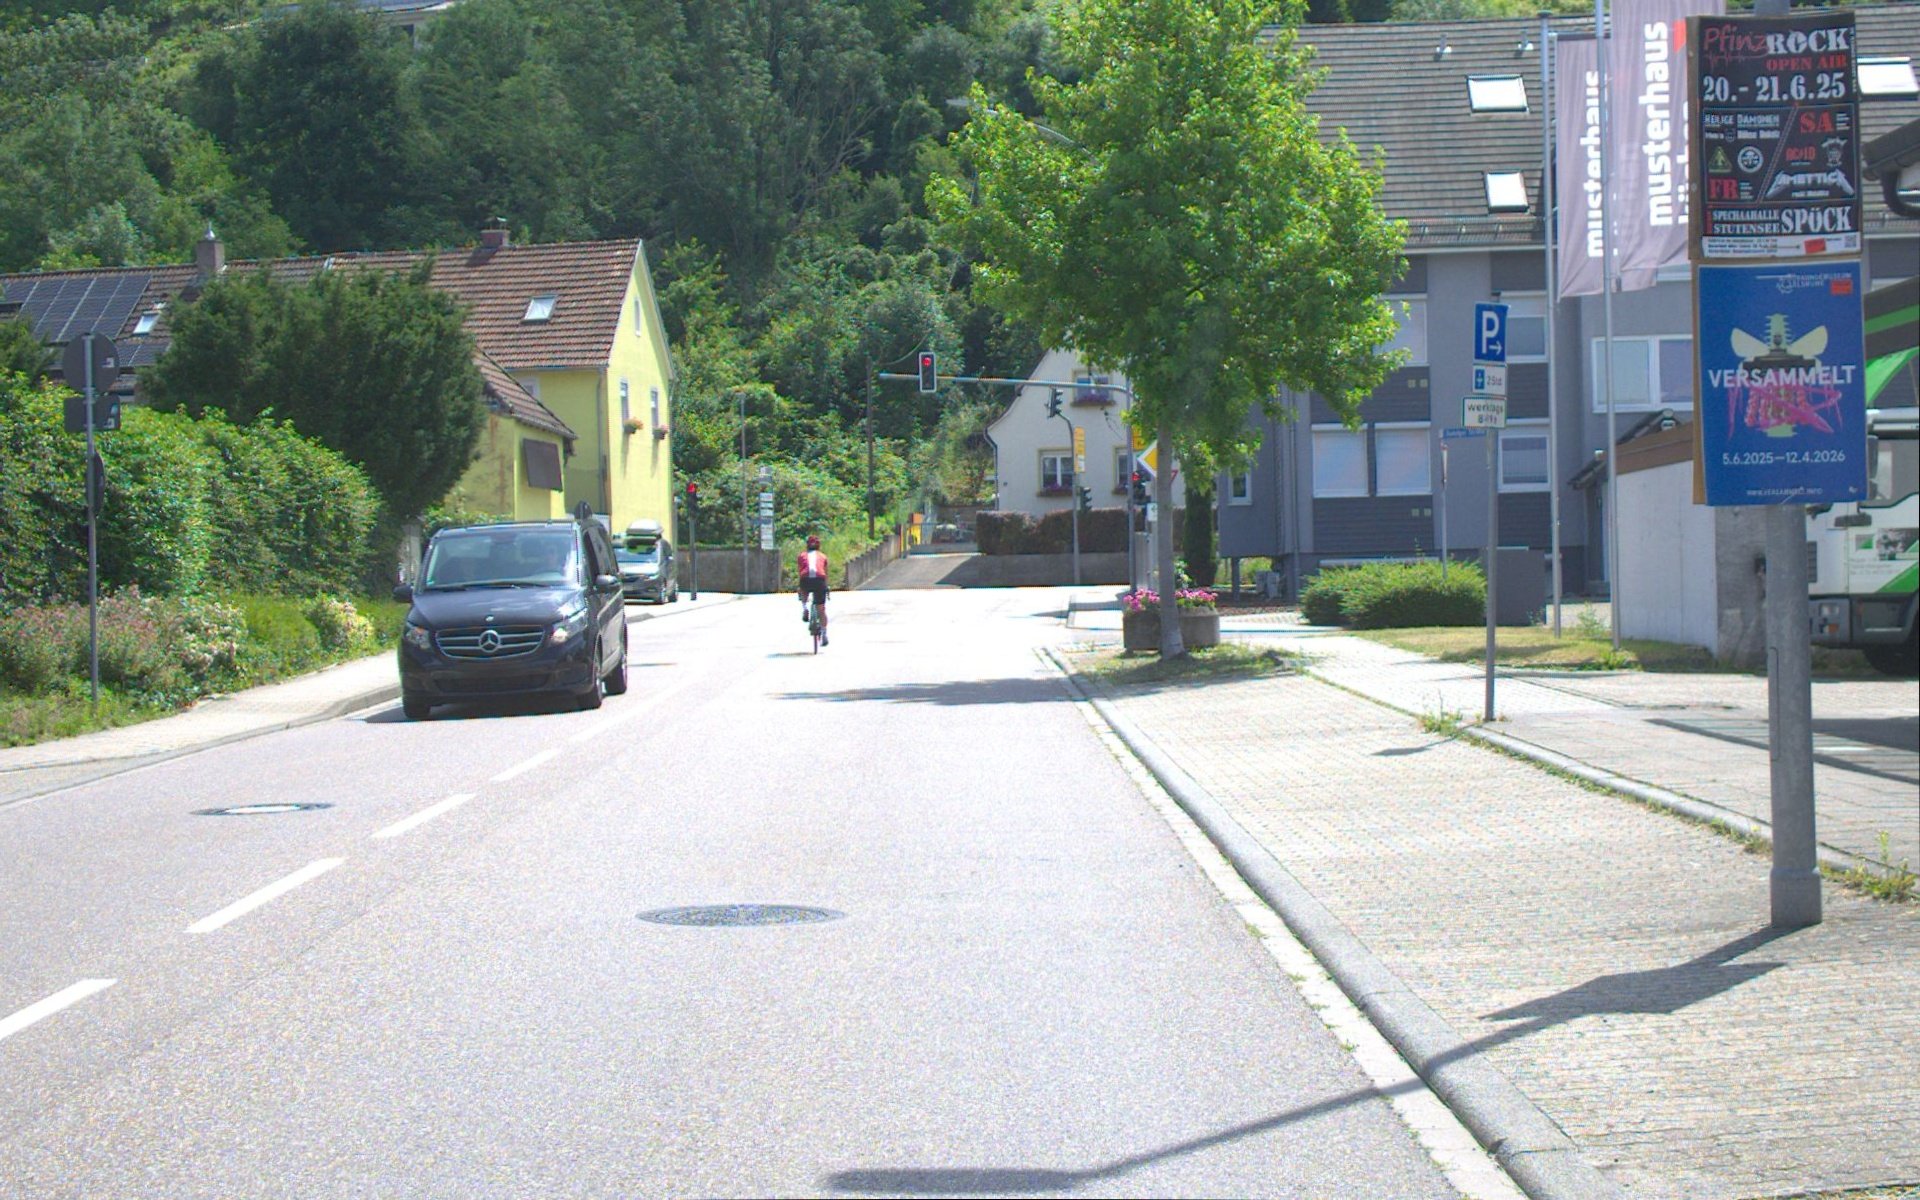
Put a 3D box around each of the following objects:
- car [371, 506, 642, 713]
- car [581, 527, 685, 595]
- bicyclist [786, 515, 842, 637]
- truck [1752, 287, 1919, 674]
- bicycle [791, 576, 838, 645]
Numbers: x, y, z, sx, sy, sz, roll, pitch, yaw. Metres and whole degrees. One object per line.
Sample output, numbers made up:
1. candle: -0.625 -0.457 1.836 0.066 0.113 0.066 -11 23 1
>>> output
1. car: -4.453 0.047 34.526 1.993 1.846 5.070 -2 1 0
2. car: -8.133 -1.001 85.804 1.993 1.630 4.630 0 1 2
3. bicyclist: -2.003 -0.336 47.252 0.760 1.659 0.869 0 1 -3
4. truck: 12.031 -1.130 33.075 8.170 3.560 2.678 0 0 0
5. bicycle: -2.010 0.136 47.302 0.630 0.902 1.657 0 1 -3
